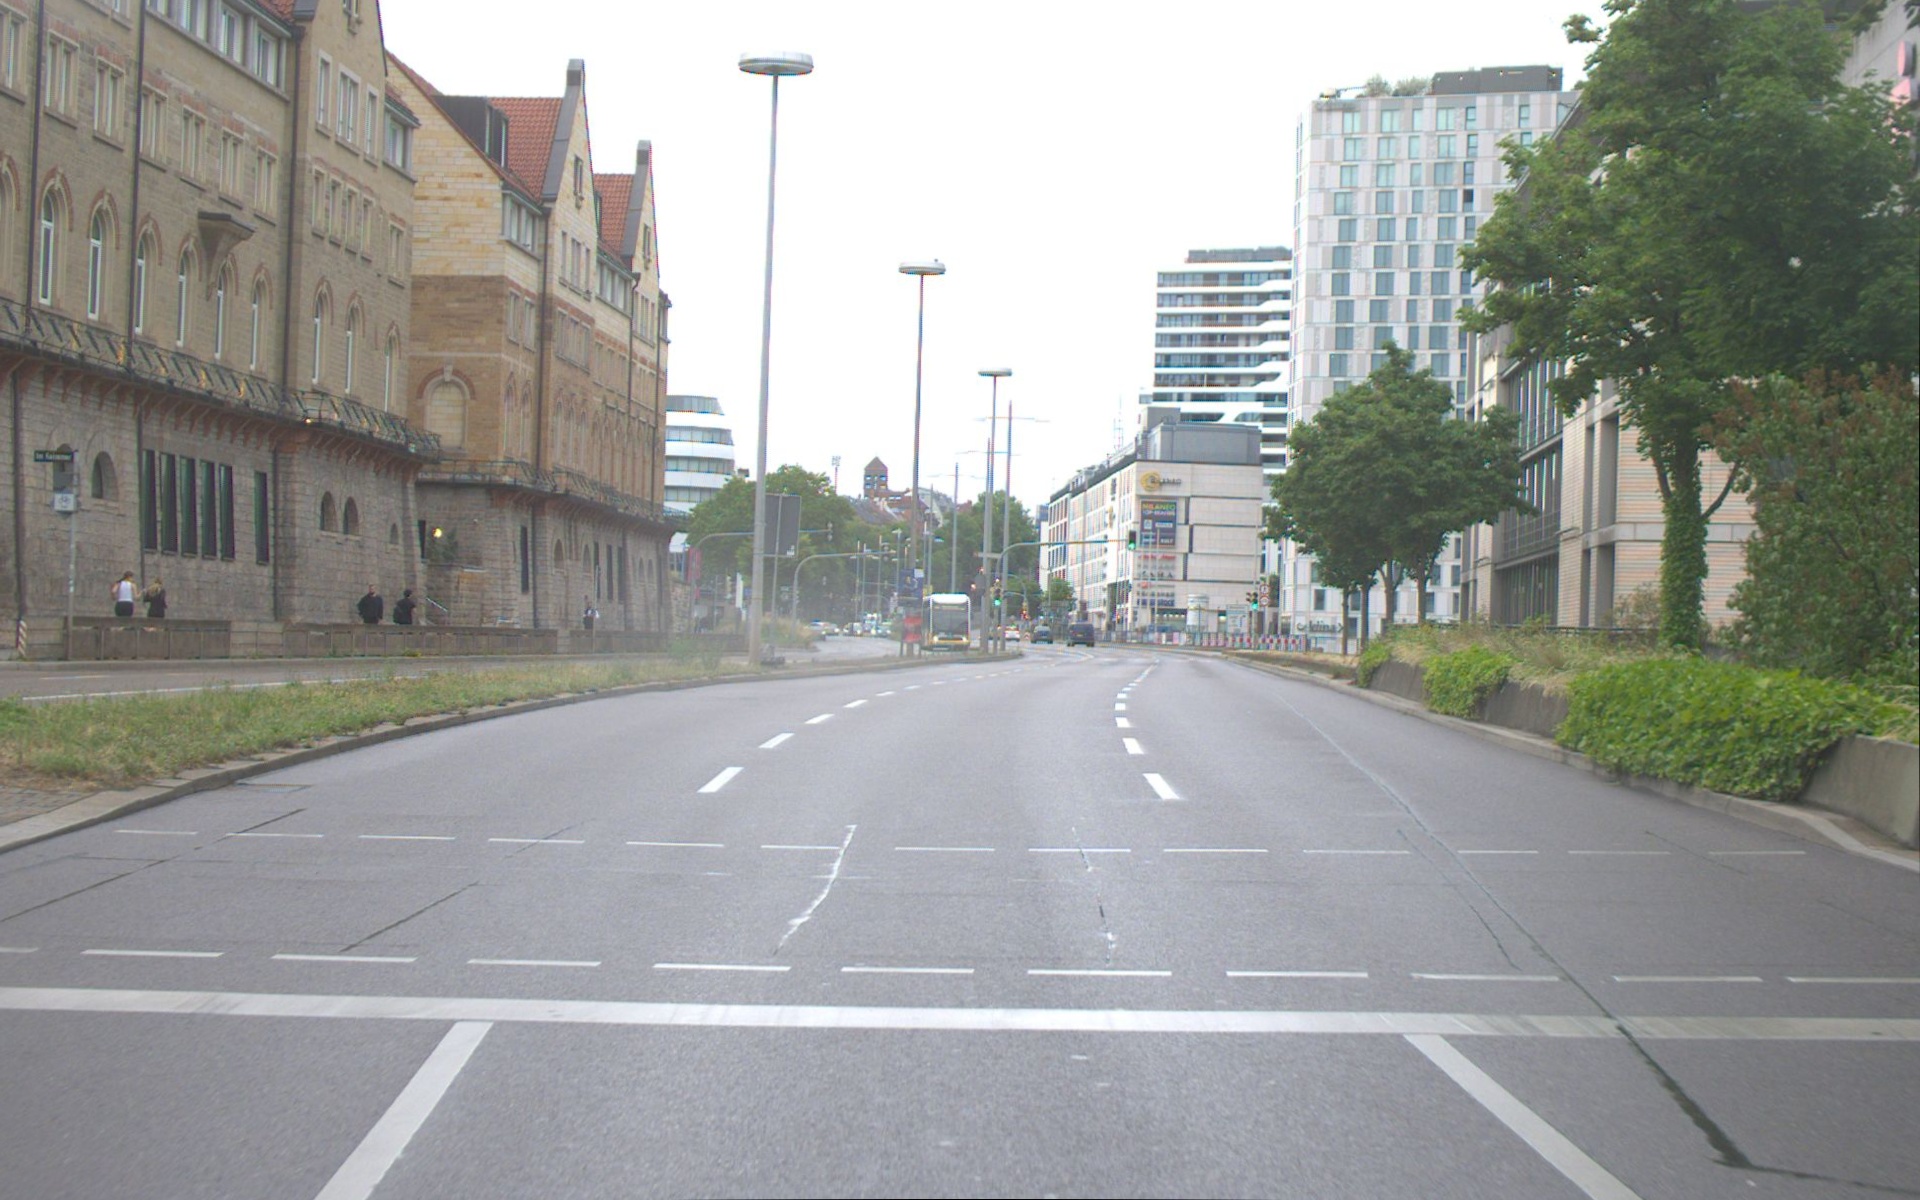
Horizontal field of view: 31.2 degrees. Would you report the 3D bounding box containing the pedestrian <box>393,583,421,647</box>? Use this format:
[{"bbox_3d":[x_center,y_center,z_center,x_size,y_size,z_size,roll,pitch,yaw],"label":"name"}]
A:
[{"bbox_3d":[-15.200,0.403,94.449,0.640,1.740,0.621,1,1,2],"label":"pedestrian"}]

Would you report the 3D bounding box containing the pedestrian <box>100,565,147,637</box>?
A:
[{"bbox_3d":[-17.273,0.014,71.002,0.754,1.473,0.714,1,1,3],"label":"pedestrian"}]

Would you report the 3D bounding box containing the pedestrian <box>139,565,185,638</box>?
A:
[{"bbox_3d":[-16.475,0.025,70.958,0.754,1.473,0.714,1,1,3],"label":"pedestrian"}]

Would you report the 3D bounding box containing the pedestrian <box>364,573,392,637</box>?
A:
[{"bbox_3d":[-15.931,0.123,94.114,0.640,1.740,0.621,1,1,2],"label":"pedestrian"}]

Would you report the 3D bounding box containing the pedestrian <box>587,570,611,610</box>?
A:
[{"bbox_3d":[-13.529,-0.375,128.835,0.754,1.473,0.714,1,1,3],"label":"pedestrian"}]

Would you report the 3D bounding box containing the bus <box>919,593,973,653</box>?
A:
[{"bbox_3d":[-0.816,1.422,212.362,2.698,3.547,10.092,1,0,3],"label":"bus"}]
